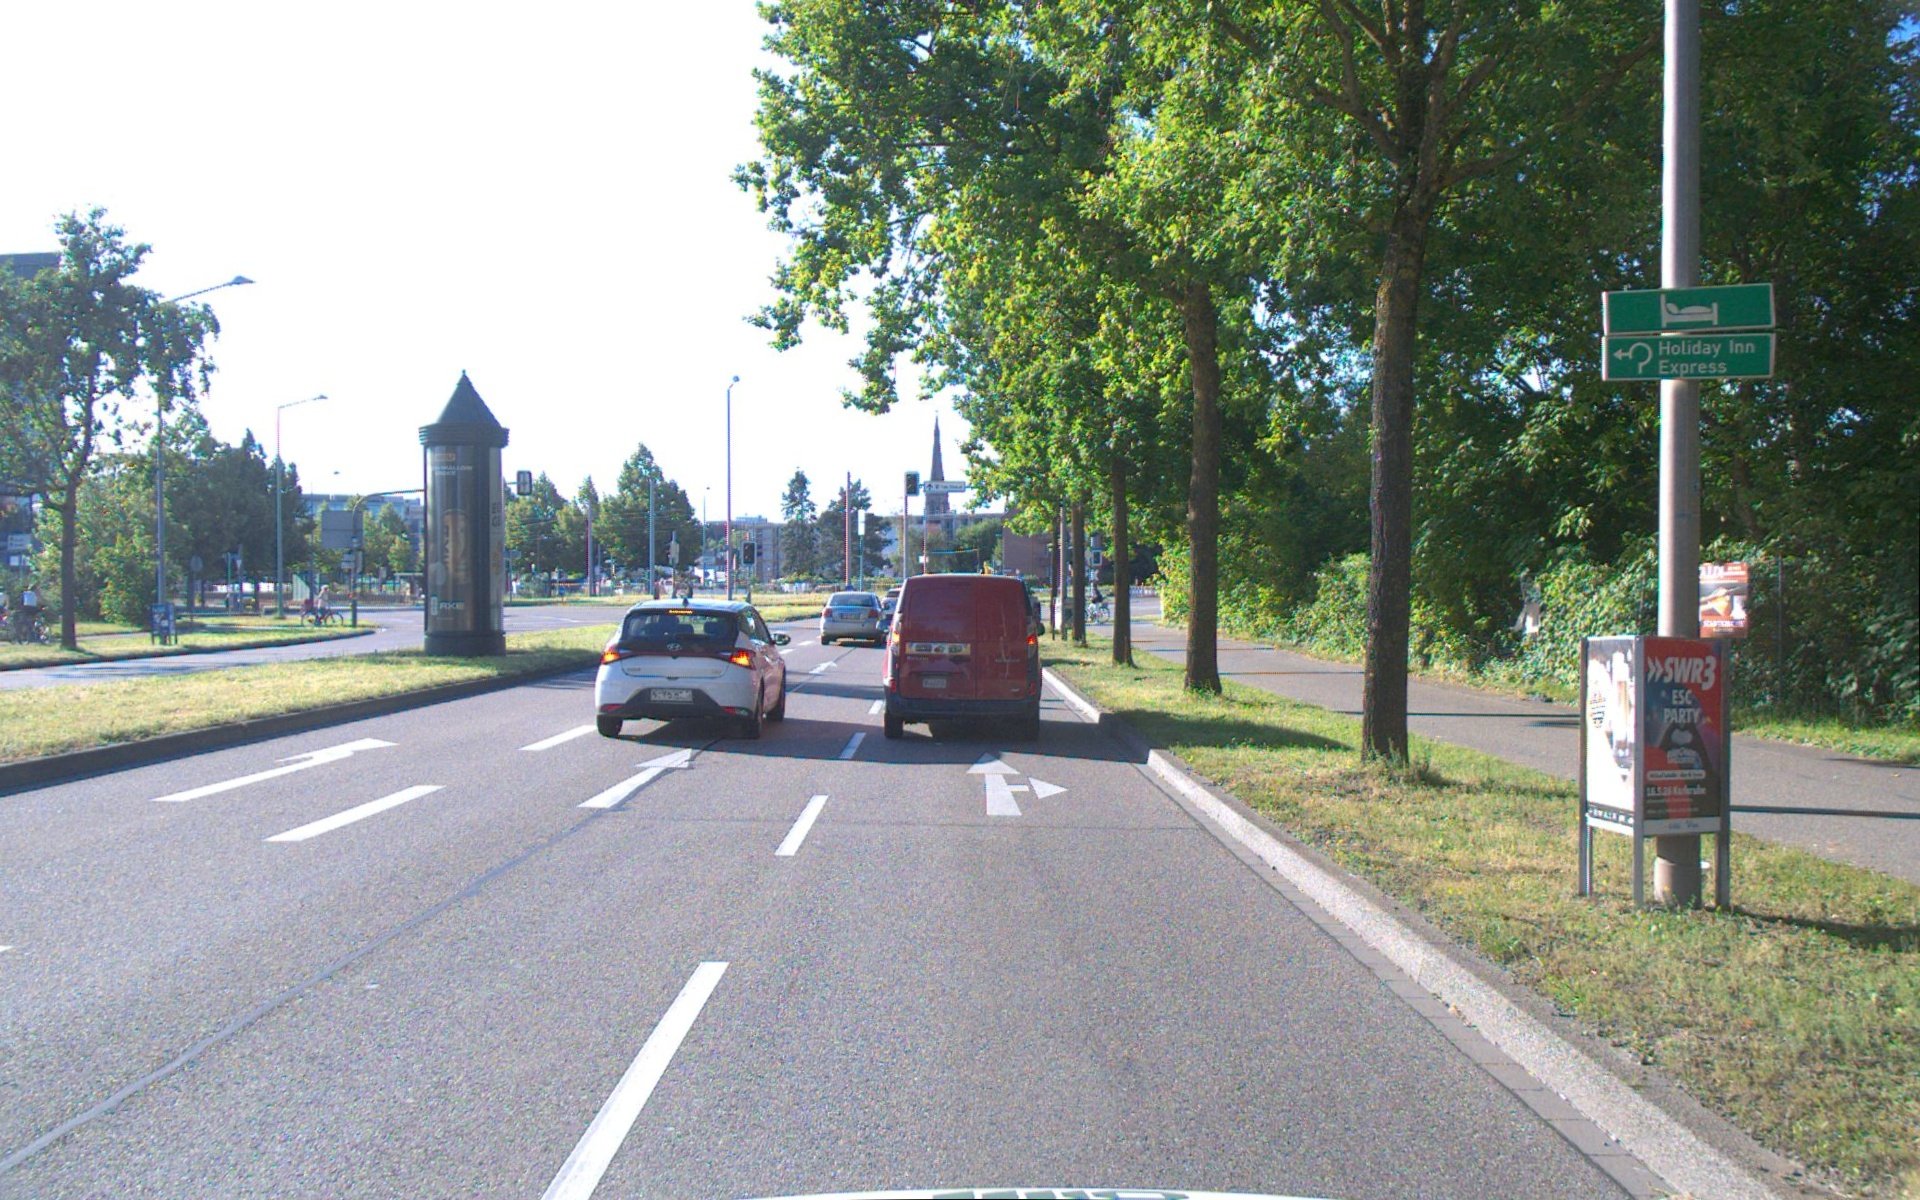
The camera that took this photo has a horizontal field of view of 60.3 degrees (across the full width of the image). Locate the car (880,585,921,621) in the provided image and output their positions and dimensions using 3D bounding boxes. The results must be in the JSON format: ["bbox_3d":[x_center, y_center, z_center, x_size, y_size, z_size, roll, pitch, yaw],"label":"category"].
[{"bbox_3d":[-2.434,0.113,68.339,1.627,1.422,3.558,0,1,-1],"label":"car"}]

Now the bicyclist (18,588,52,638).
[{"bbox_3d":[-26.530,0.359,47.434,0.551,1.416,0.747,0,0,-2],"label":"bicyclist"}]

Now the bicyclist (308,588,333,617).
[{"bbox_3d":[-25.393,0.099,65.700,0.719,1.126,0.605,0,0,12],"label":"bicyclist"}]

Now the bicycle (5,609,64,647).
[{"bbox_3d":[-26.526,0.783,47.414,0.558,1.021,2.096,0,0,-2],"label":"bicycle"}]

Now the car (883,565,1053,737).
[{"bbox_3d":[0.057,0.506,19.472,1.769,1.790,4.005,1,1,-1],"label":"car"}]

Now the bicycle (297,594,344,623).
[{"bbox_3d":[-25.408,0.339,65.705,1.690,1.126,0.605,0,0,12],"label":"bicycle"}]

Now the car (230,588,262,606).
[{"bbox_3d":[-70.086,-0.306,162.268,1.805,1.735,3.941,1,0,-41],"label":"car"}]

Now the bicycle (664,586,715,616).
[{"bbox_3d":[-10.749,0.047,65.807,1.919,1.186,0.517,-1,0,-2],"label":"bicycle"}]

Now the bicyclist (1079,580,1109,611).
[{"bbox_3d":[5.556,-0.207,68.663,0.959,1.271,0.780,-1,0,-33],"label":"bicyclist"}]

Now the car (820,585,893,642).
[{"bbox_3d":[-2.890,0.342,47.059,1.803,1.482,4.162,1,1,0],"label":"car"}]

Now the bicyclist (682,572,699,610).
[{"bbox_3d":[-10.740,-0.360,65.805,0.591,1.494,0.517,0,0,-2],"label":"bicyclist"}]

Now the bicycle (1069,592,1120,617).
[{"bbox_3d":[5.581,0.180,68.677,2.100,0.975,0.780,-1,0,-33],"label":"bicycle"}]

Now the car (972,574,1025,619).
[{"bbox_3d":[1.602,-0.142,67.766,1.624,1.792,3.501,0,0,11],"label":"car"}]

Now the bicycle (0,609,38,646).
[{"bbox_3d":[-27.593,0.795,48.081,0.477,1.021,2.096,0,0,-2],"label":"bicycle"}]

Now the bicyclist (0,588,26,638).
[{"bbox_3d":[-27.592,0.371,48.028,0.472,1.419,0.844,0,0,-2],"label":"bicyclist"}]

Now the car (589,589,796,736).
[{"bbox_3d":[-2.929,0.625,18.886,1.742,1.433,4.074,0,1,-1],"label":"car"}]
